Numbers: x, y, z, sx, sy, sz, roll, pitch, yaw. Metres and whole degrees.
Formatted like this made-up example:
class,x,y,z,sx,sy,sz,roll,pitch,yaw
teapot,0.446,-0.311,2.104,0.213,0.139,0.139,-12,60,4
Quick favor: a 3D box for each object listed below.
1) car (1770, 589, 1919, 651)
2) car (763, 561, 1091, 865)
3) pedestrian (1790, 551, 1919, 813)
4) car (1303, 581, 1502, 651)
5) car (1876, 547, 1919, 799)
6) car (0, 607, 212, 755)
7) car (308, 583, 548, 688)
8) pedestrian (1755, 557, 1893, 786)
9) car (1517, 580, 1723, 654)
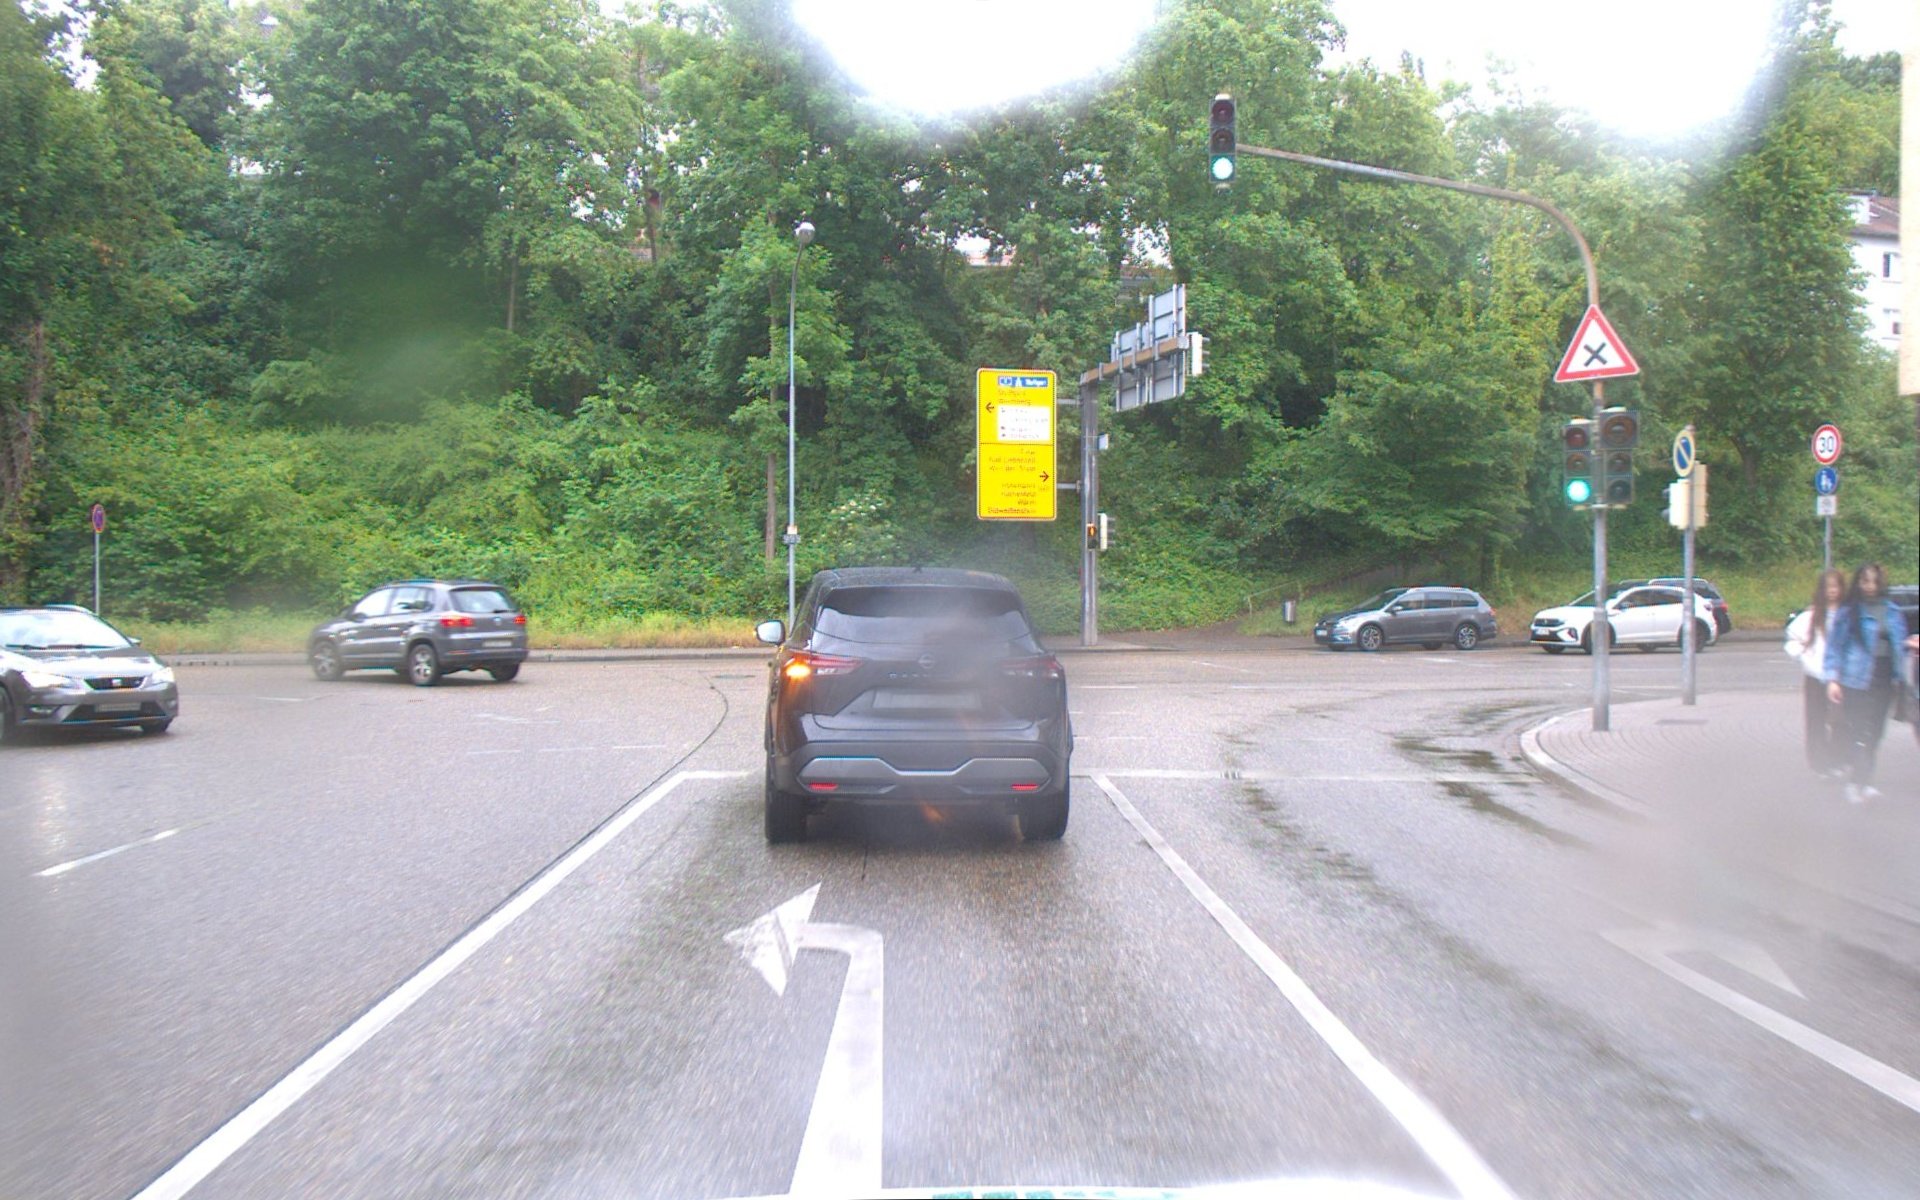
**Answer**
class,x,y,z,sx,sy,sz,roll,pitch,yaw
car,21.453,0.445,39.058,4.075,1.394,1.802,0,0,-16
car,-0.326,0.594,10.940,1.775,1.631,3.996,0,0,-5
pedestrian,5.974,0.504,10.788,0.644,1.628,0.795,-2,0,-4
car,10.623,0.360,39.814,4.250,1.528,1.877,-1,0,-13
car,8.553,0.431,11.400,4.316,1.678,1.867,-2,0,-28
car,-10.517,0.835,18.948,4.123,1.475,1.810,0,1,37
car,-8.883,0.544,27.548,3.918,1.631,1.811,0,0,35
pedestrian,6.301,0.503,12.105,0.745,1.602,0.782,-1,1,18
car,14.817,0.354,37.162,4.075,1.589,1.802,0,0,-16
